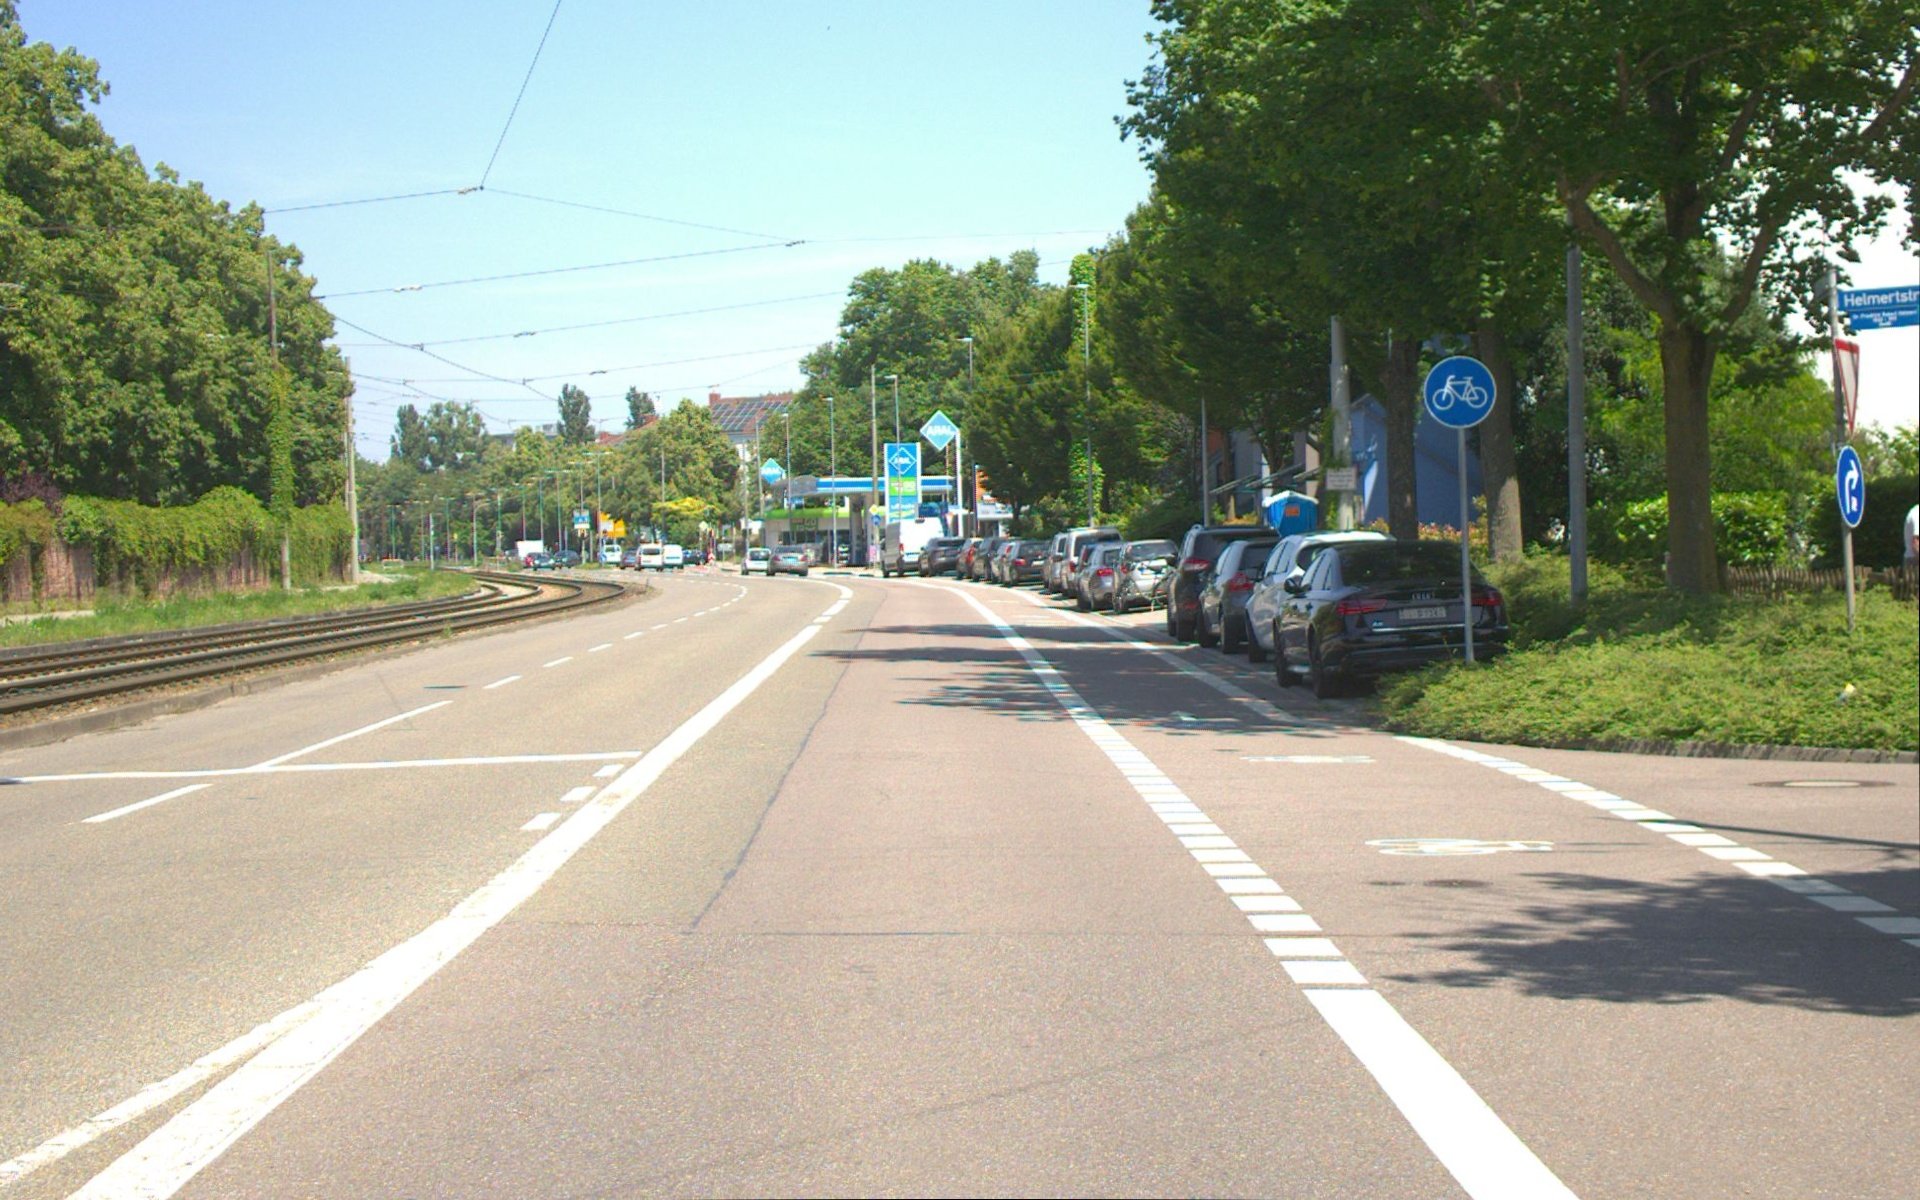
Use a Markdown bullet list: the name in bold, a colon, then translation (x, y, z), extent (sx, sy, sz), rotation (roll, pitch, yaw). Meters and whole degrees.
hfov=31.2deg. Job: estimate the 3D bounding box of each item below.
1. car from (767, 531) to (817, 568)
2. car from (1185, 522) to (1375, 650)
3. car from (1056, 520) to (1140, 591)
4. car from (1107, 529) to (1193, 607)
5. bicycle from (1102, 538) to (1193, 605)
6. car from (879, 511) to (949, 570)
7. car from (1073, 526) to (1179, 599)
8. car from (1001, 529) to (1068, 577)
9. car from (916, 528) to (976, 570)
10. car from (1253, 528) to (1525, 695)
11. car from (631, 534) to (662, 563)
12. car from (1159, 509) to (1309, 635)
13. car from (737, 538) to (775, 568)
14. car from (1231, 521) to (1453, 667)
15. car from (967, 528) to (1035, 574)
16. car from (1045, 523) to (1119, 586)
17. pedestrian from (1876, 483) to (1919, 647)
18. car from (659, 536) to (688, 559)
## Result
- **car**: translation (-7.952, -2.389, 162.407), extent (1.755, 1.625, 4.325), rotation (-3, 1, -10)
- **car**: translation (4.214, -0.227, 45.923), extent (1.840, 1.524, 4.354), rotation (-3, 1, -3)
- **car**: translation (3.728, -1.233, 93.506), extent (1.840, 1.787, 4.354), rotation (-3, 1, -2)
- **car**: translation (4.039, -0.702, 73.525), extent (1.519, 1.524, 3.817), rotation (-3, 1, 0)
- **bicycle**: translation (3.908, -0.594, 71.488), extent (1.774, 1.224, 0.683), rotation (-6, 1, 4)
- **car**: translation (-2.094, -2.663, 153.706), extent (2.000, 2.448, 6.111), rotation (-4, 1, -10)
- **car**: translation (3.751, -0.884, 78.530), extent (1.840, 1.524, 4.967), rotation (-3, 1, -3)
- **car**: translation (2.504, -1.609, 116.542), extent (1.706, 1.487, 5.039), rotation (-3, 1, -4)
- **car**: translation (-0.596, -2.132, 143.601), extent (1.755, 1.625, 4.325), rotation (-4, 1, -10)
- **car**: translation (4.181, 0.059, 34.247), extent (1.840, 1.431, 4.825), rotation (-3, 1, -2)
- **car**: translation (-22.081, -3.631, 242.052), extent (1.755, 1.868, 4.325), rotation (-4, 1, -10)
- **car**: translation (4.061, -0.457, 51.604), extent (1.841, 1.700, 4.626), rotation (-3, 1, 1)
- **car**: translation (-11.849, -2.730, 199.270), extent (1.755, 1.625, 4.325), rotation (-4, 1, -8)
- **car**: translation (4.425, -0.115, 40.405), extent (1.840, 1.524, 4.206), rotation (-3, 1, -3)
- **car**: translation (1.503, -1.825, 127.718), extent (1.706, 1.557, 4.325), rotation (-4, 1, -10)
- **car**: translation (3.511, -1.342, 99.689), extent (1.840, 1.688, 4.779), rotation (-3, 1, 0)
- **pedestrian**: translation (10.136, -0.376, 36.245), extent (0.747, 1.716, 0.633), rotation (-1, 1, -7)
- **car**: translation (-21.788, -4.015, 261.212), extent (1.755, 1.625, 4.325), rotation (-4, 1, -10)
